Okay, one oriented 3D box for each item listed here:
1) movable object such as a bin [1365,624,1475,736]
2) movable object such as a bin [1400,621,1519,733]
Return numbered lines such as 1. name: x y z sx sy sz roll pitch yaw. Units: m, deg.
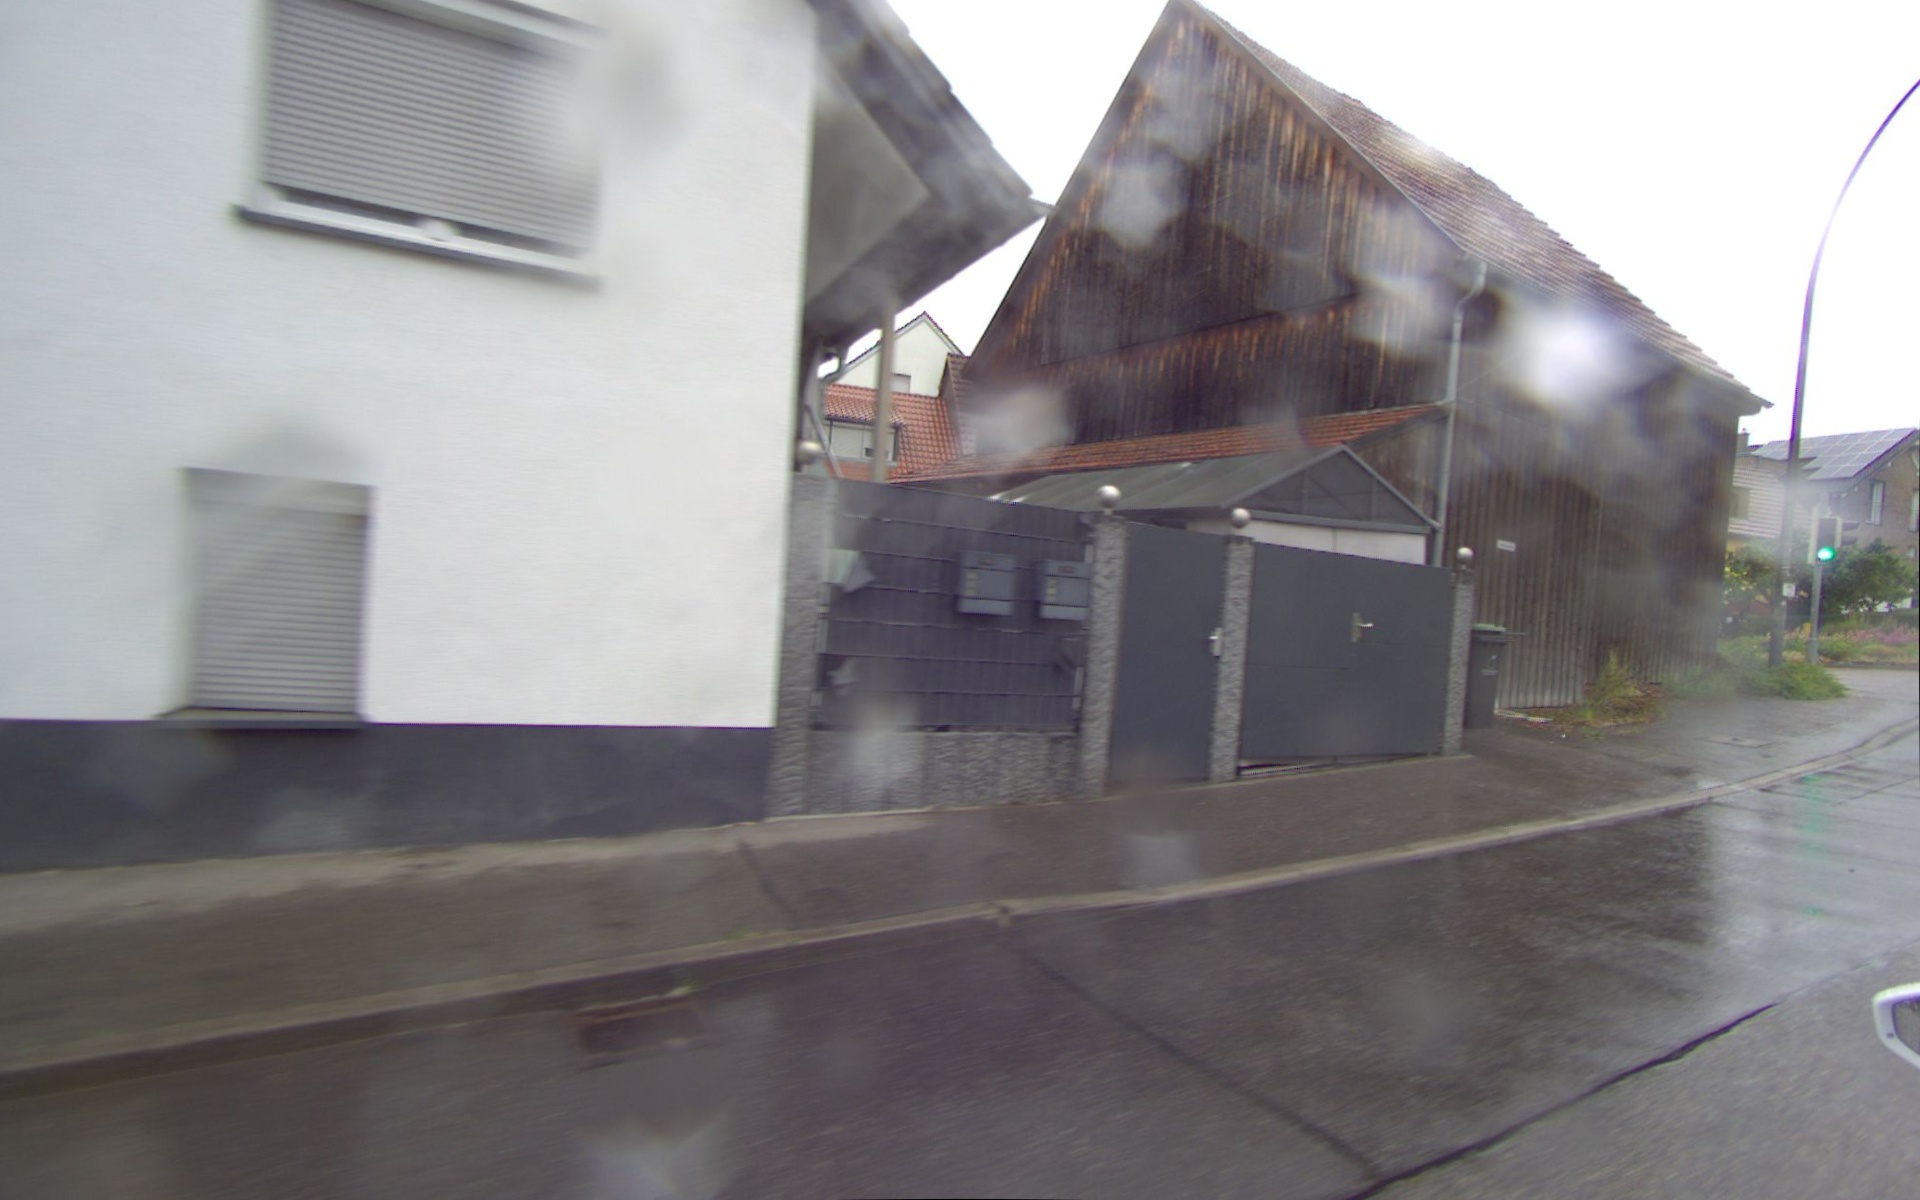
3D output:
1. movable object such as a bin: 4.848 0.825 10.608 0.590 1.075 0.812 2 2 -32
2. movable object such as a bin: 5.427 0.814 10.941 0.644 1.092 0.892 2 3 -32
